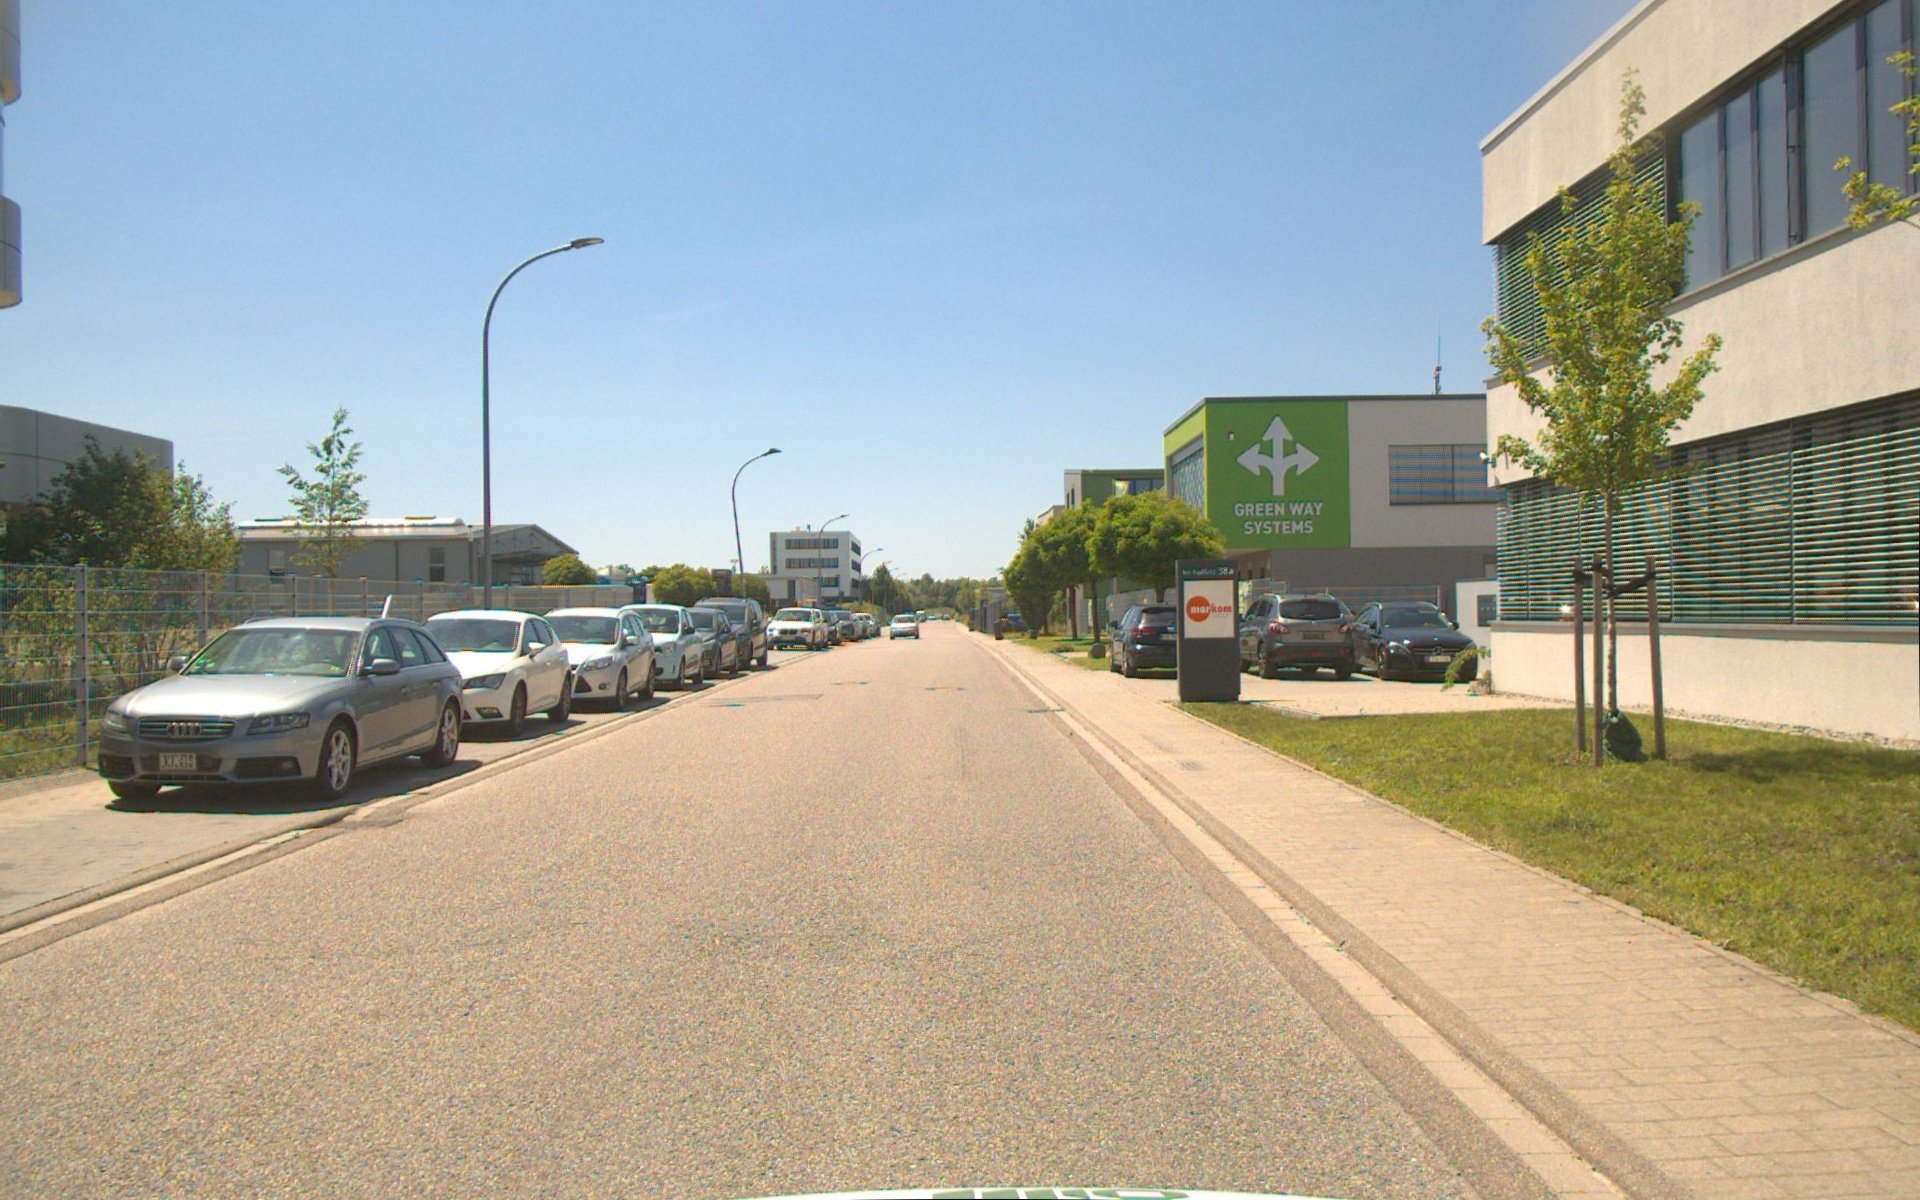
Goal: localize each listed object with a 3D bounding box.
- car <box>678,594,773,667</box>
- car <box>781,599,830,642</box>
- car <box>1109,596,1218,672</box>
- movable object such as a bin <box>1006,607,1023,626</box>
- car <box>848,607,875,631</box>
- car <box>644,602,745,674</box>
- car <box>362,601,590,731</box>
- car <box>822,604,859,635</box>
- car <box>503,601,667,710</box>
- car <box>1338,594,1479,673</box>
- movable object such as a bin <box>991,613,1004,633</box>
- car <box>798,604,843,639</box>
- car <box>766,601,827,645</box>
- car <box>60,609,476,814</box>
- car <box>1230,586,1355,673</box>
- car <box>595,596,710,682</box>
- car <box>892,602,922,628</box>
[{"bbox_3d":[-5.871,0.738,41.855,1.766,1.750,4.621,0,0,-1],"label":"car"},{"bbox_3d":[-6.256,0.839,67.429,1.751,1.685,3.767,0,0,-2],"label":"car"},{"bbox_3d":[4.079,0.651,33.735,1.657,1.453,4.245,0,0,-1],"label":"car"},{"bbox_3d":[4.263,1.313,129.553,1.307,1.485,0.948,-1,-1,-1],"label":"movable object such as a bin"},{"bbox_3d":[-6.770,1.313,113.609,1.733,1.620,4.358,0,-1,-2],"label":"car"},{"bbox_3d":[-5.897,0.808,37.075,1.601,1.526,3.971,0,0,0],"label":"car"},{"bbox_3d":[-5.984,0.756,20.975,1.668,1.469,4.438,0,0,-2],"label":"car"},{"bbox_3d":[-6.349,1.025,88.123,1.754,1.635,4.461,0,-1,-2],"label":"car"},{"bbox_3d":[-5.852,0.810,26.307,1.668,1.563,4.570,0,0,-2],"label":"car"},{"bbox_3d":[8.850,0.628,32.951,1.688,1.475,4.021,0,0,-1],"label":"car"},{"bbox_3d":[1.879,1.153,82.916,0.540,0.944,0.522,-5,-1,9],"label":"movable object such as a bin"},{"bbox_3d":[-6.270,0.949,74.893,1.727,1.544,4.379,0,0,-1],"label":"car"},{"bbox_3d":[-6.097,0.848,61.975,1.750,1.569,4.365,0,0,1],"label":"car"},{"bbox_3d":[-5.703,0.821,14.341,1.649,1.410,4.639,-1,0,0],"label":"car"},{"bbox_3d":[6.641,0.565,33.405,1.688,1.661,4.021,0,0,-1],"label":"car"},{"bbox_3d":[-5.886,0.715,31.996,1.601,1.563,3.656,0,0,-2],"label":"car"},{"bbox_3d":[-3.185,0.881,99.756,1.669,1.436,4.783,-3,0,-1],"label":"car"}]
